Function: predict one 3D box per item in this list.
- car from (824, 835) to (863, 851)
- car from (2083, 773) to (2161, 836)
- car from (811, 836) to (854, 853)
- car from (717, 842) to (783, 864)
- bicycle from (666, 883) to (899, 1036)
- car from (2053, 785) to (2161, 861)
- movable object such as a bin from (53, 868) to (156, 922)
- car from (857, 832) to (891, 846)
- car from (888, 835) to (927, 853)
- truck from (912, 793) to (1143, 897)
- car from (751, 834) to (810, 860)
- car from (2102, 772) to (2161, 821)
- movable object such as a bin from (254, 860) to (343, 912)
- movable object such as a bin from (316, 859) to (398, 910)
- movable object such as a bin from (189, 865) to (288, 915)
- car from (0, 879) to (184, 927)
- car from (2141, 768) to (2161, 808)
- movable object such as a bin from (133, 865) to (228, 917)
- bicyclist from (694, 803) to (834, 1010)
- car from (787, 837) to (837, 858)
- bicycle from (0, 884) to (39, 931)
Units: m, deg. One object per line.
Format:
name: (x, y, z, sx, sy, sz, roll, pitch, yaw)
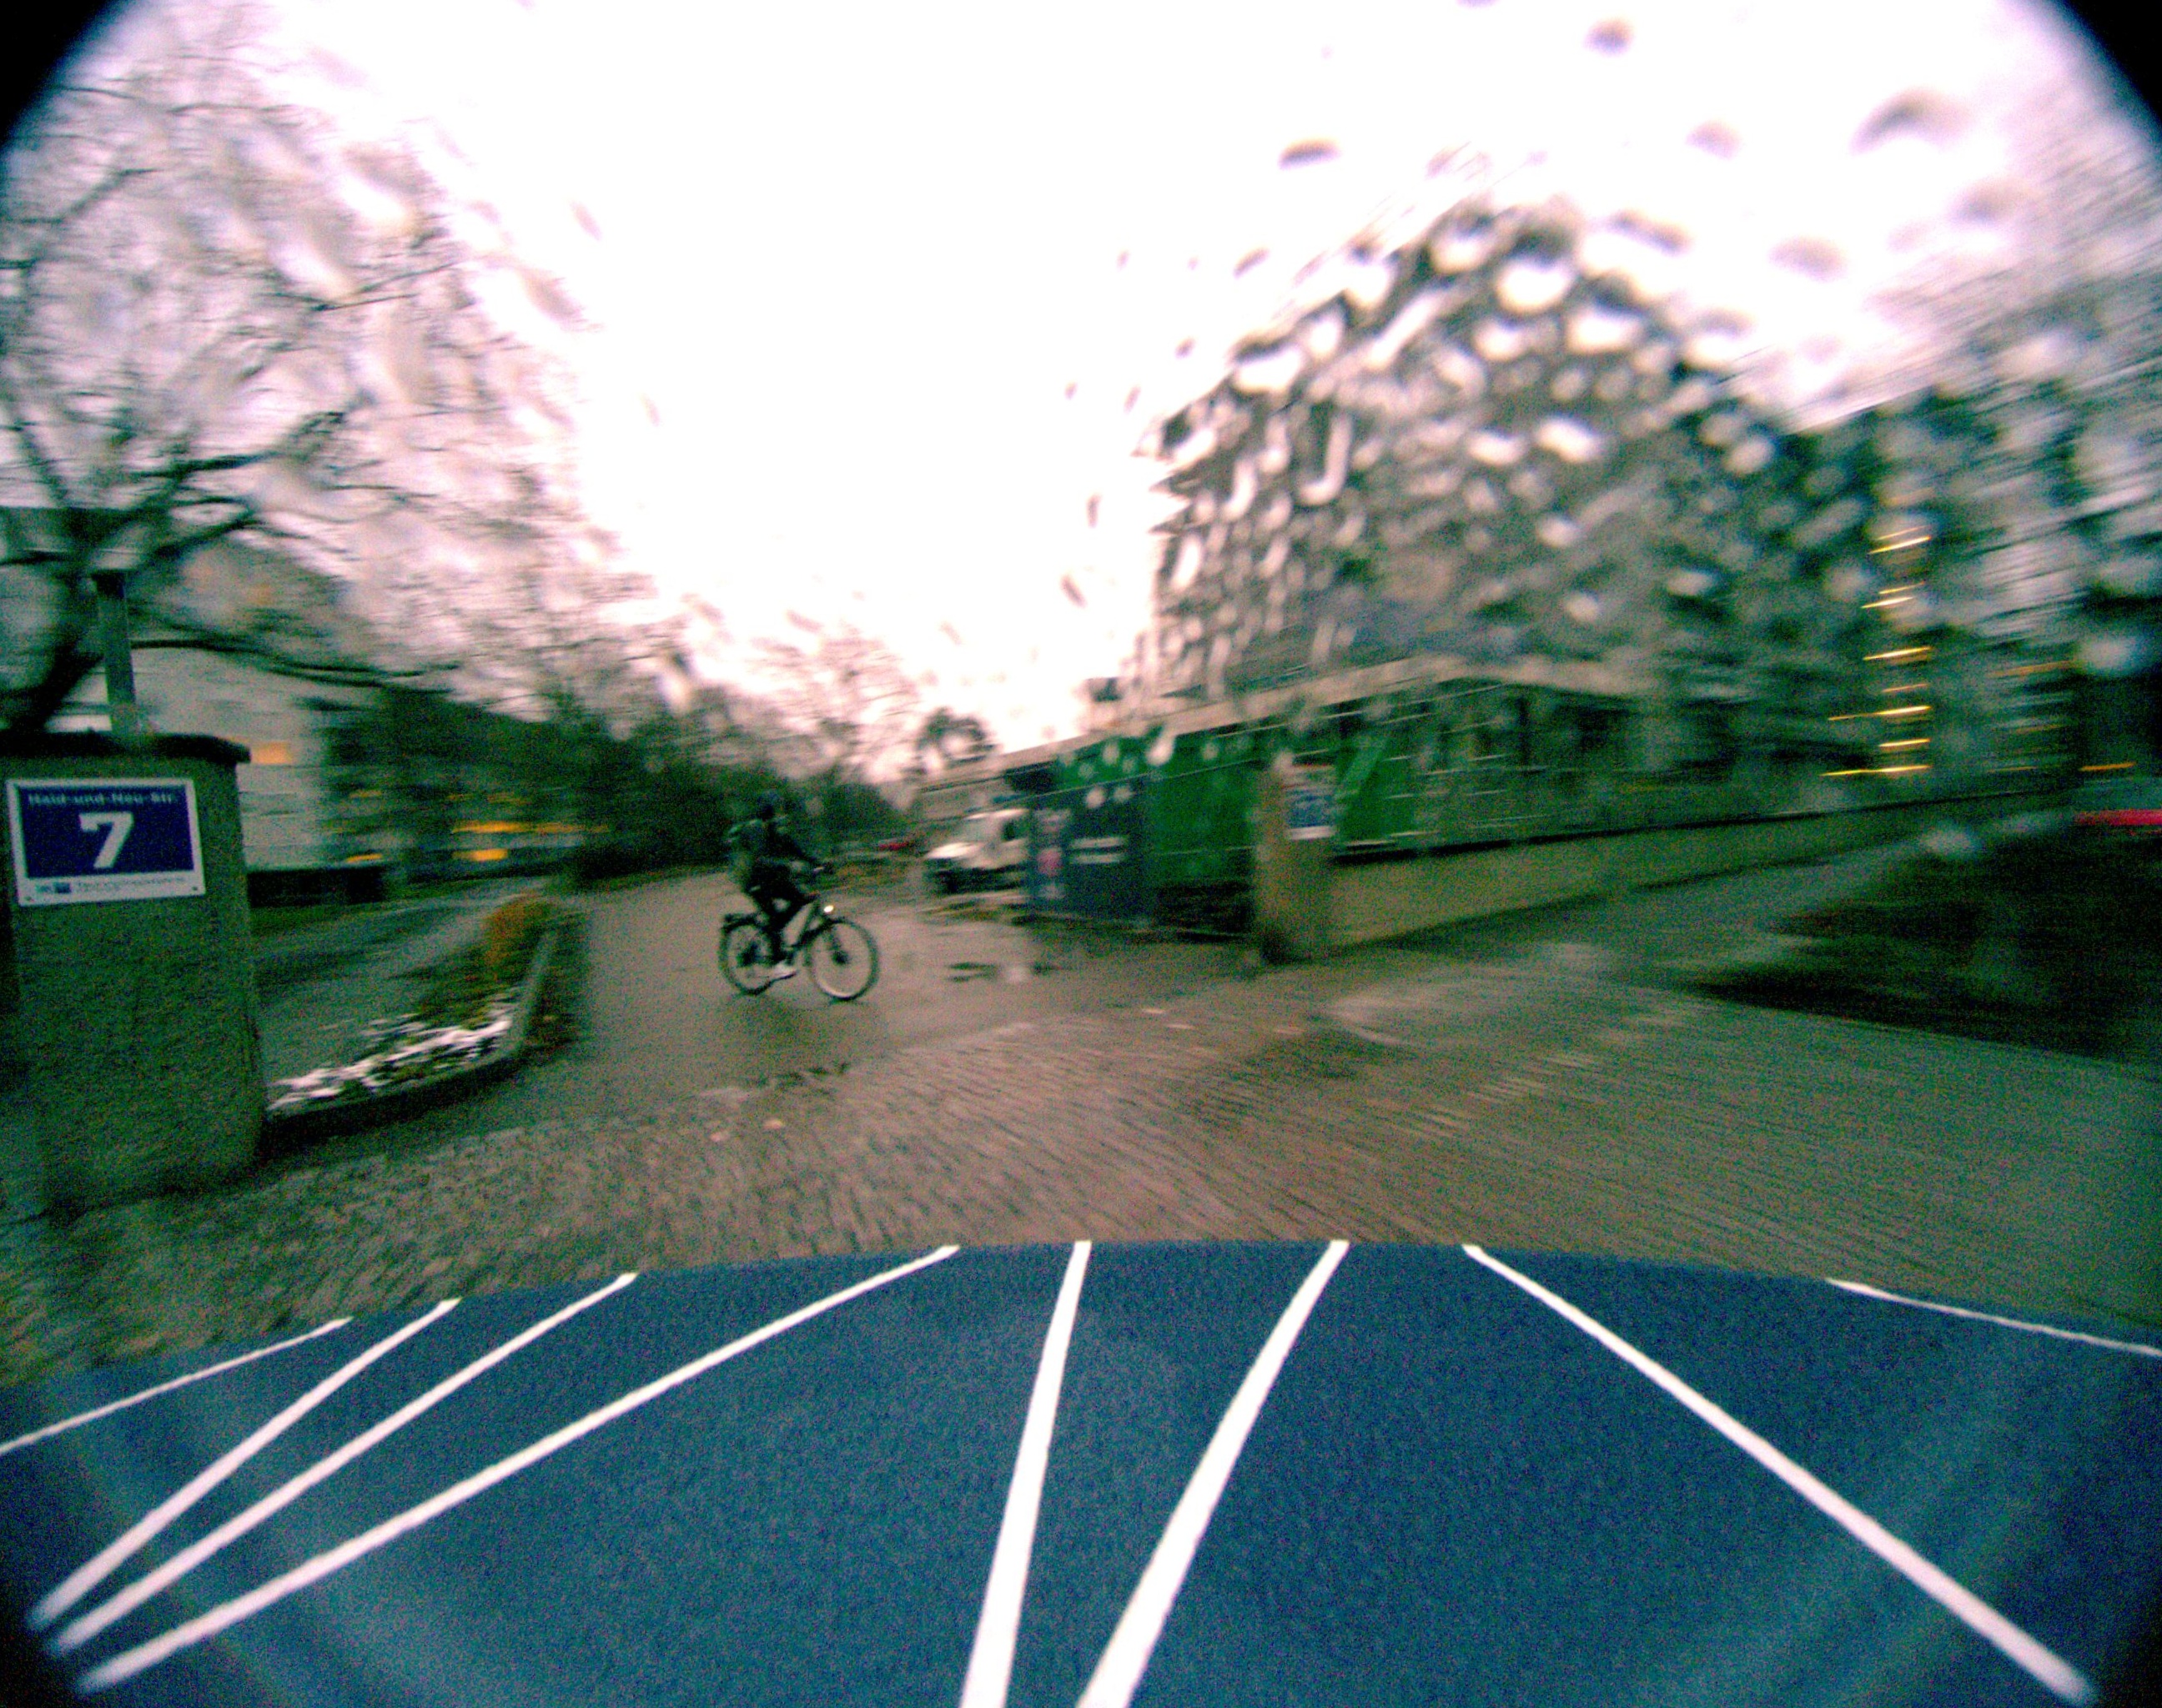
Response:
car: (-28.562, -1.361, 91.492, 3.998, 1.786, 1.801, -2, 3, -4)
car: (28.596, -1.360, 20.375, 3.741, 1.575, 1.750, -4, 3, -32)
car: (-26.716, -1.051, 81.729, 3.998, 1.653, 1.998, -2, 2, -4)
car: (-24.970, -0.091, 57.439, 4.180, 1.469, 1.999, -2, 0, -7)
bicycle: (-2.597, 0.842, 6.591, 1.889, 1.126, 0.732, -1, 3, 26)
car: (21.286, -0.669, 15.281, 3.741, 1.379, 1.750, -4, 3, -32)
movable object such as a bin: (-26.031, 1.074, 20.282, 1.264, 1.307, 0.987, -3, 3, -10)
car: (-28.003, -2.025, 102.781, 3.998, 1.786, 1.801, -2, 3, -4)
car: (-15.838, -0.916, 69.421, 3.309, 1.515, 1.702, -2, 3, -8)
truck: (-1.395, -0.413, 23.335, 7.092, 2.574, 2.126, -6, 5, -41)
car: (-25.025, -0.627, 63.390, 3.998, 1.981, 1.998, -2, 3, -4)
car: (37.386, -2.031, 26.434, 4.006, 1.585, 1.863, -4, 3, -32)
movable object such as a bin: (-21.754, 0.879, 21.149, 1.308, 1.307, 0.987, -3, 3, -10)
movable object such as a bin: (-20.351, 0.834, 21.410, 1.325, 1.309, 1.061, -2, 3, -23)
movable object such as a bin: (-23.104, 0.967, 20.872, 1.438, 1.218, 0.987, -3, 3, -10)
car: (-35.365, 1.694, 27.043, 1.998, 1.274, 3.998, -2, 2, 0)
car: (45.410, -2.779, 31.219, 4.006, 1.585, 1.863, -4, 3, -32)
movable object such as a bin: (-24.603, 1.001, 20.800, 1.252, 1.273, 0.987, -3, 3, -10)
bicyclist: (-2.745, 0.417, 6.619, 0.769, 1.680, 0.708, -1, 3, 27)
car: (-25.169, -0.637, 71.093, 3.998, 1.786, 1.801, -2, 3, -4)
bicycle: (-28.358, 1.403, 19.510, 2.140, 1.151, 0.573, -2, 3, -4)
